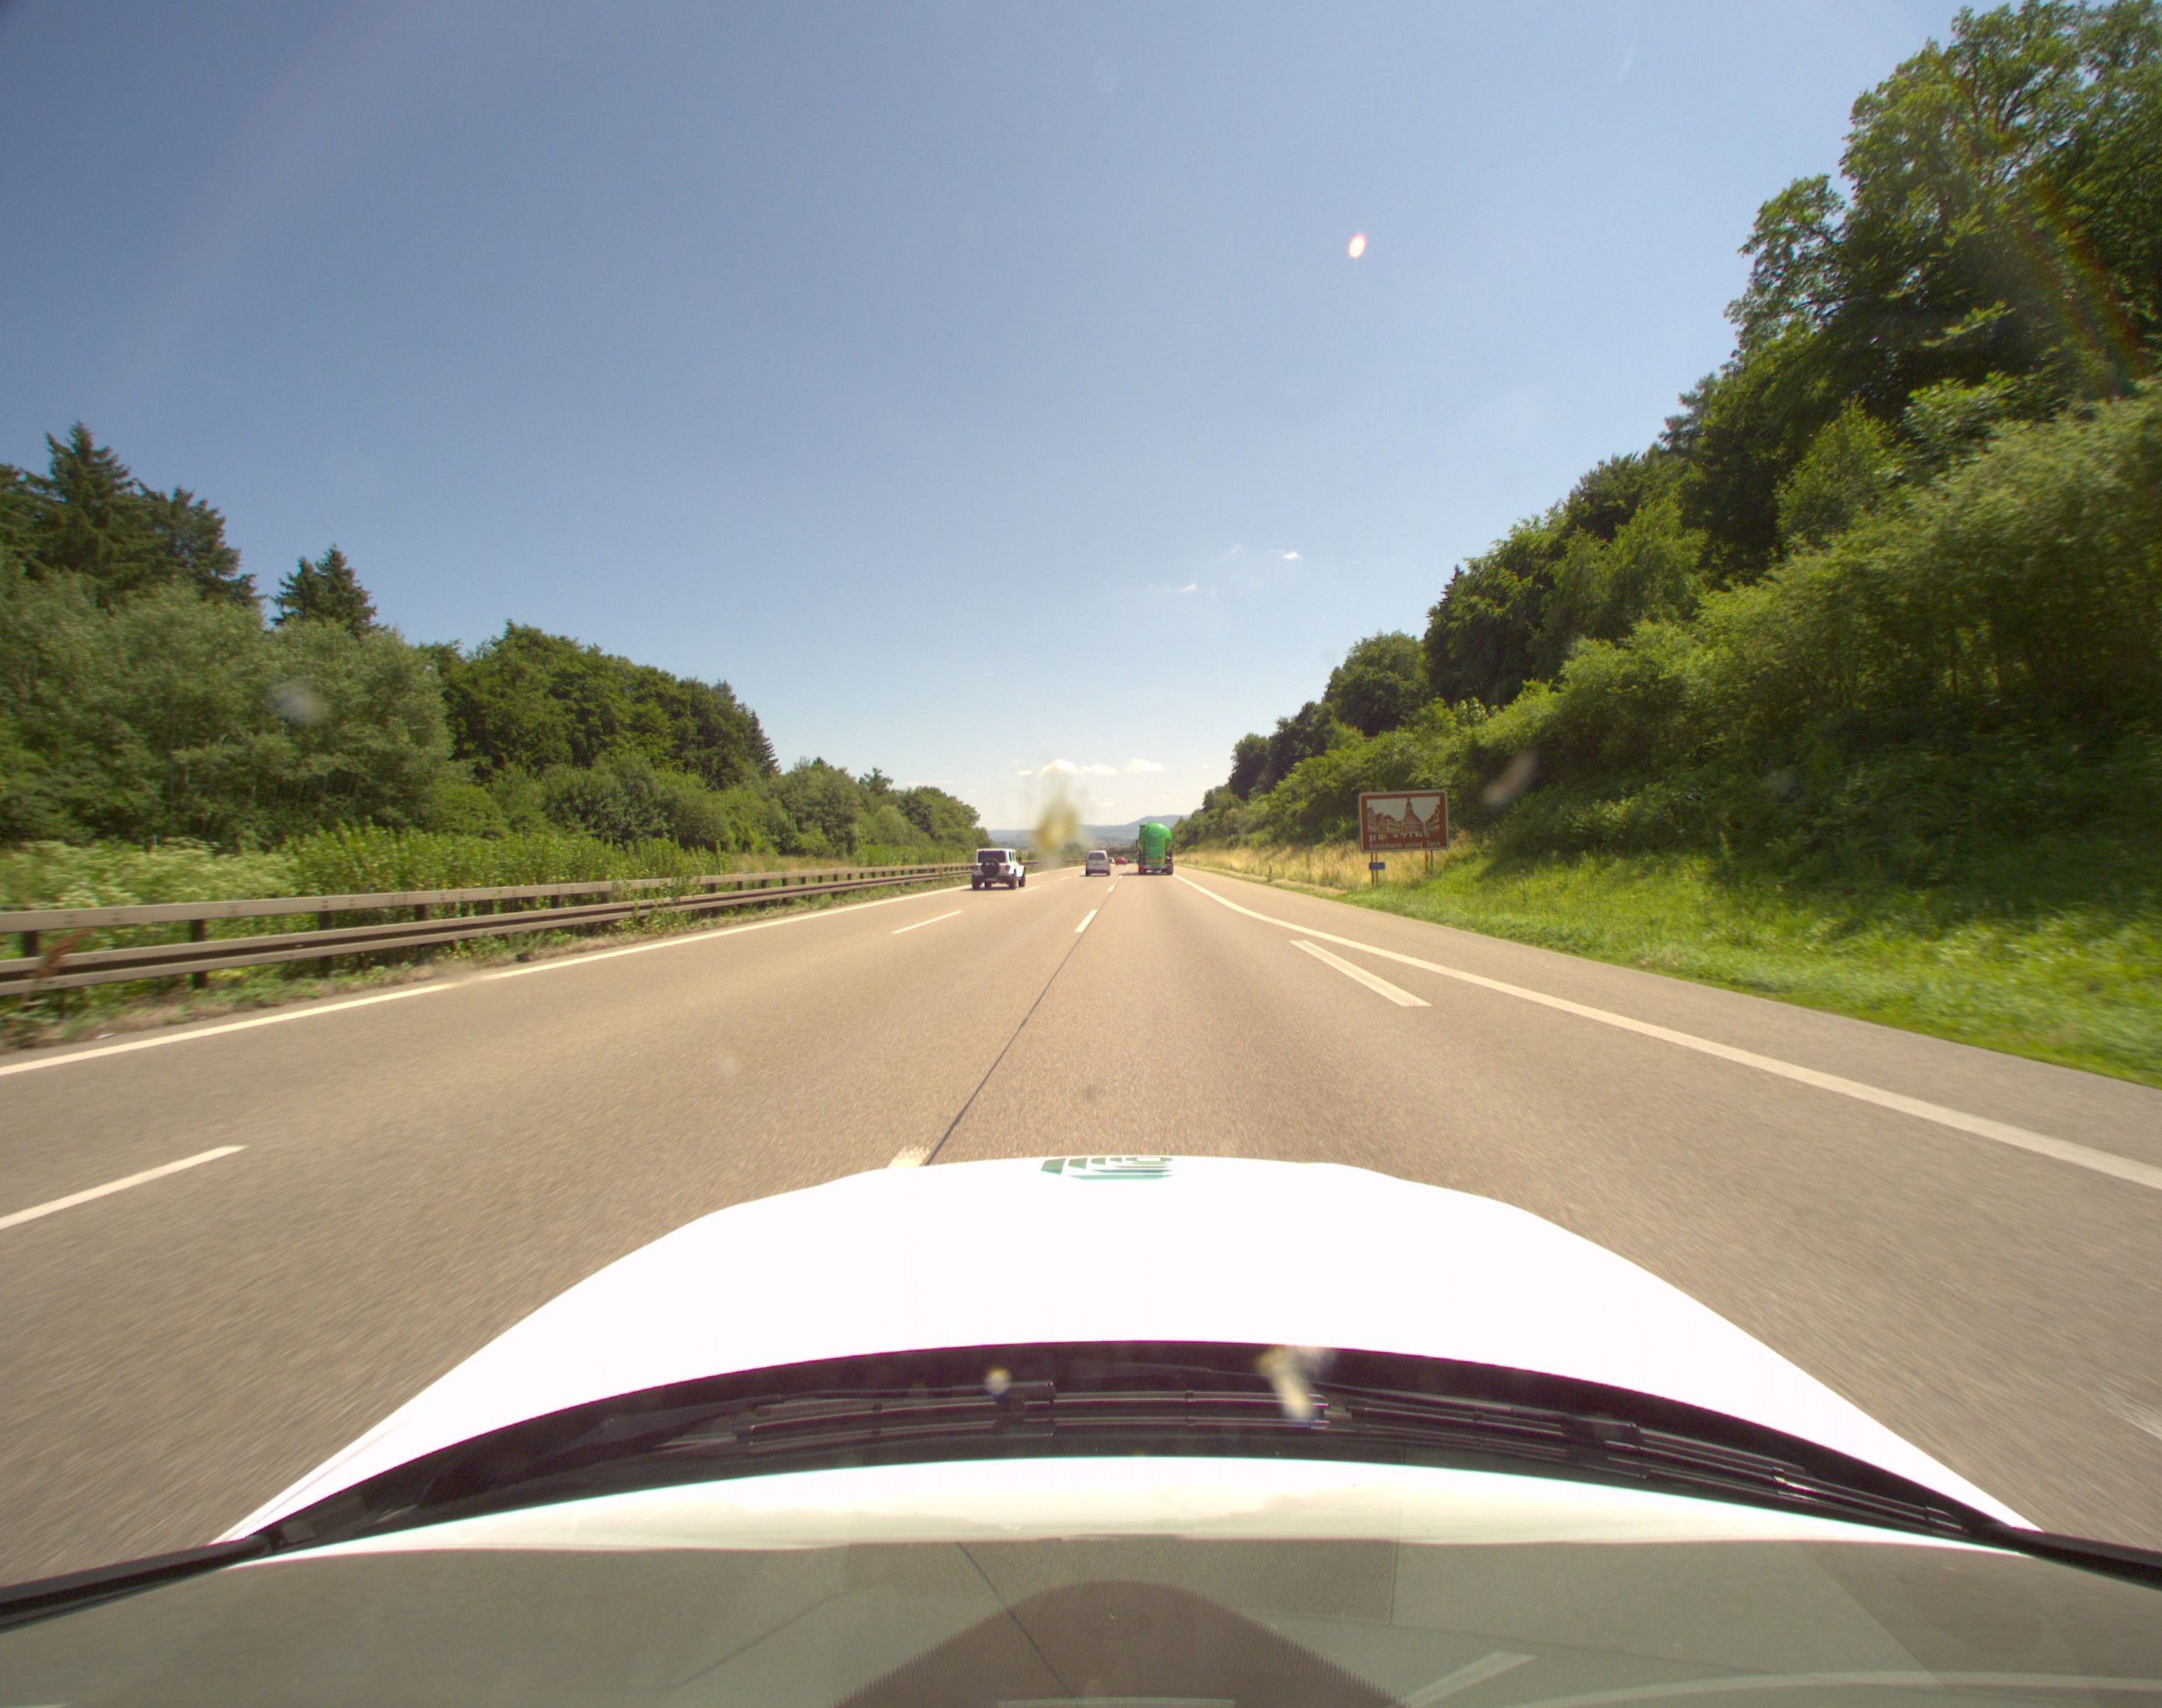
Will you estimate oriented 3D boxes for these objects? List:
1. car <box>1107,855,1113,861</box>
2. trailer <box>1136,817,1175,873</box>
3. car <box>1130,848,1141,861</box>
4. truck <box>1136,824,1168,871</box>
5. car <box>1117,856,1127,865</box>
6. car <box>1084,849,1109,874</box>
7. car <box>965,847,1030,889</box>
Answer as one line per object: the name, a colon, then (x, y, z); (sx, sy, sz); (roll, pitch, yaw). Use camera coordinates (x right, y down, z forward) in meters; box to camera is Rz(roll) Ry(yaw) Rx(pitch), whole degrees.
car: (7.594, 1.058, 211.558); (1.395, 1.396, 3.216); (-1, 0, 5)
trailer: (5.745, -0.644, 64.149); (2.577, 4.028, 10.477); (-1, 0, 3)
car: (11.124, 0.135, 164.729); (2.079, 2.576, 6.631); (-1, 0, 5)
truck: (5.968, -0.525, 69.364); (2.499, 3.842, 4.895); (-1, 0, 3)
car: (7.180, 1.057, 142.239); (1.438, 1.550, 3.362); (-1, 0, 7)
car: (1.180, 0.543, 60.882); (1.739, 1.829, 4.803); (-1, 0, 2)
car: (-3.802, 0.610, 37.881); (2.073, 1.829, 4.761); (-1, 0, 5)
